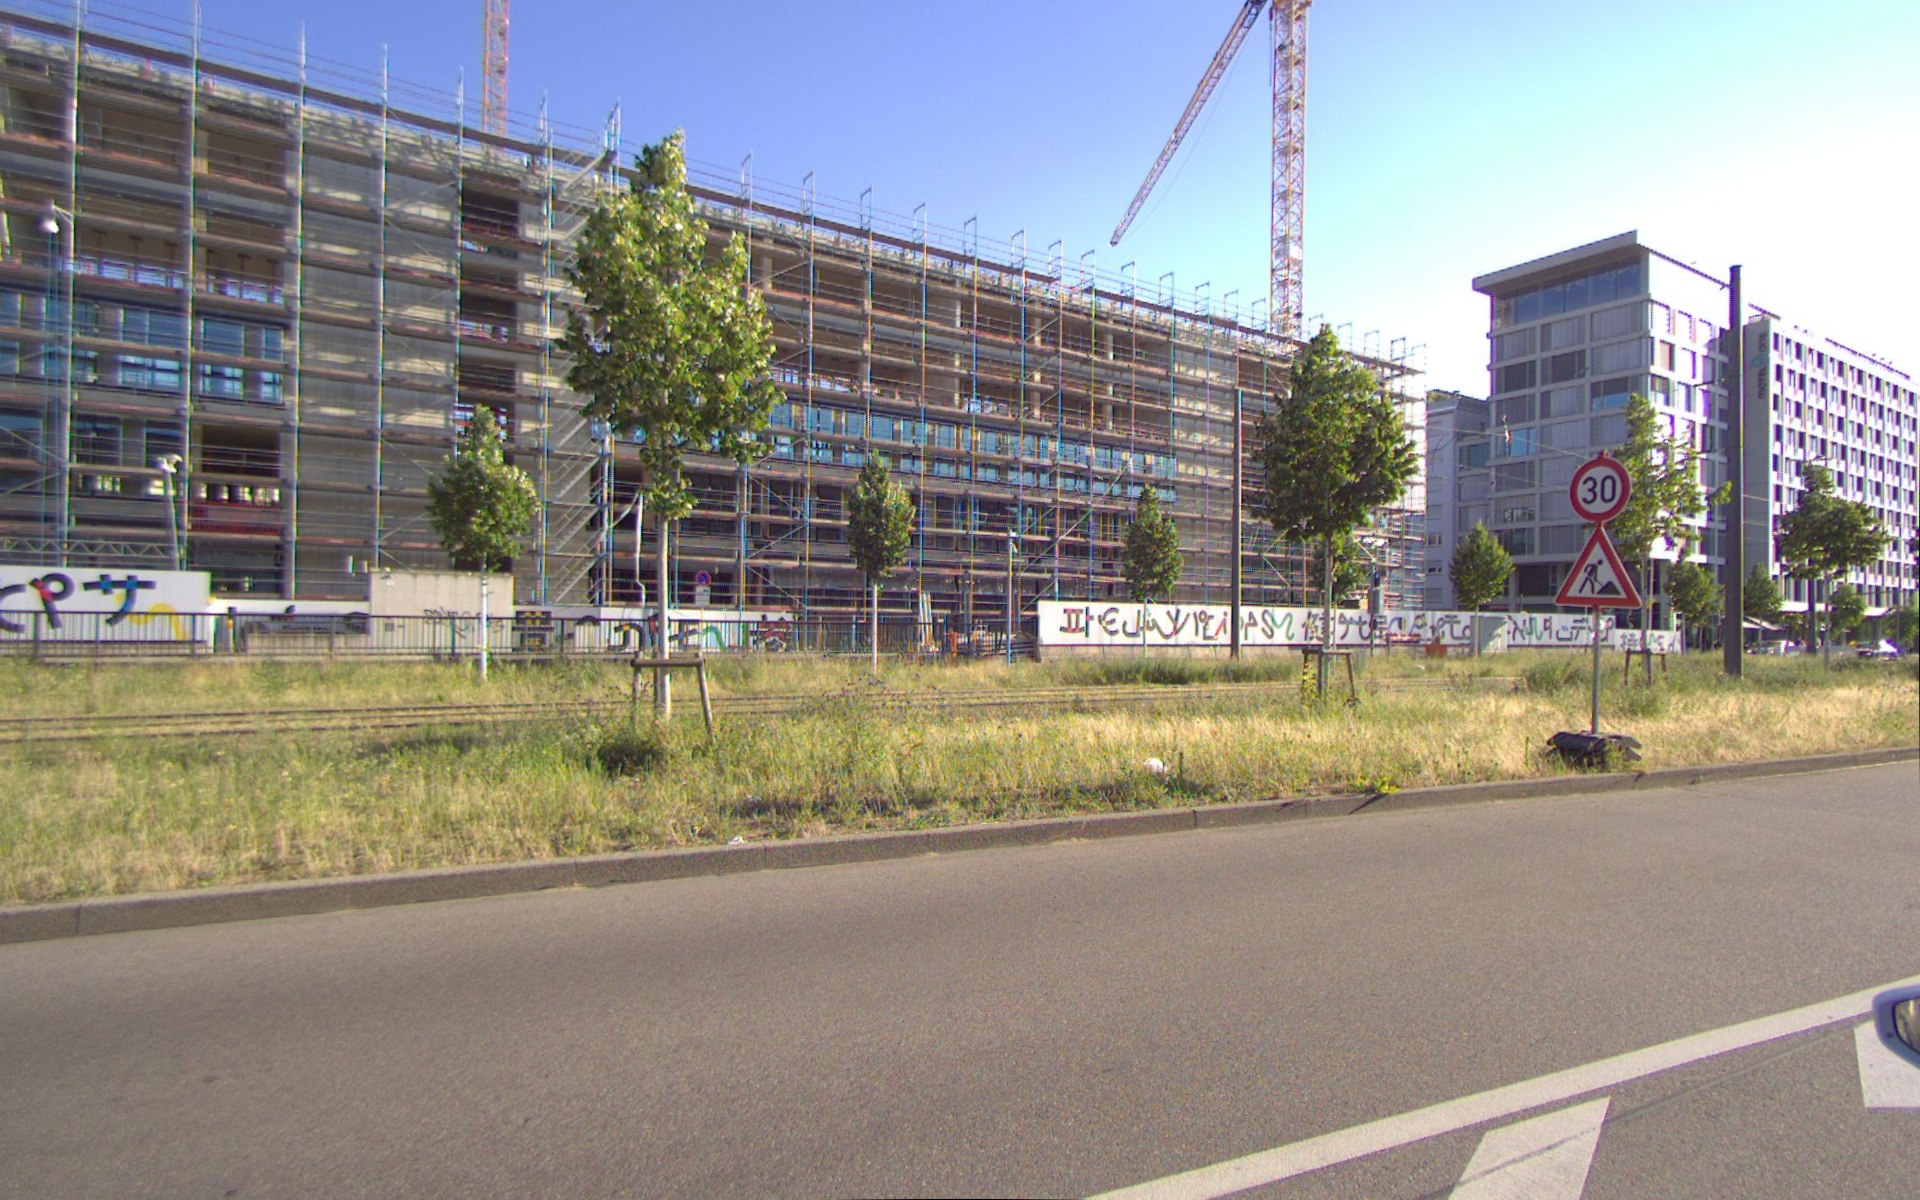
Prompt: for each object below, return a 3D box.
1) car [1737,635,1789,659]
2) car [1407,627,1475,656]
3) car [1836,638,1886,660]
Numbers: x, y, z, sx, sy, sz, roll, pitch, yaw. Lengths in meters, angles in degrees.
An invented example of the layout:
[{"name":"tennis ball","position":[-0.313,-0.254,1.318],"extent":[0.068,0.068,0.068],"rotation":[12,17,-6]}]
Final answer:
[{"name":"car","position":[54.263,3.174,67.890],"extent":[3.543,1.461,1.699],"rotation":[2,0,-32]},{"name":"car","position":[26.092,2.259,54.432],"extent":[3.543,1.461,1.699],"rotation":[2,0,-32]},{"name":"car","position":[63.581,3.470,70.895],"extent":[3.543,1.461,1.699],"rotation":[2,0,-32]}]
